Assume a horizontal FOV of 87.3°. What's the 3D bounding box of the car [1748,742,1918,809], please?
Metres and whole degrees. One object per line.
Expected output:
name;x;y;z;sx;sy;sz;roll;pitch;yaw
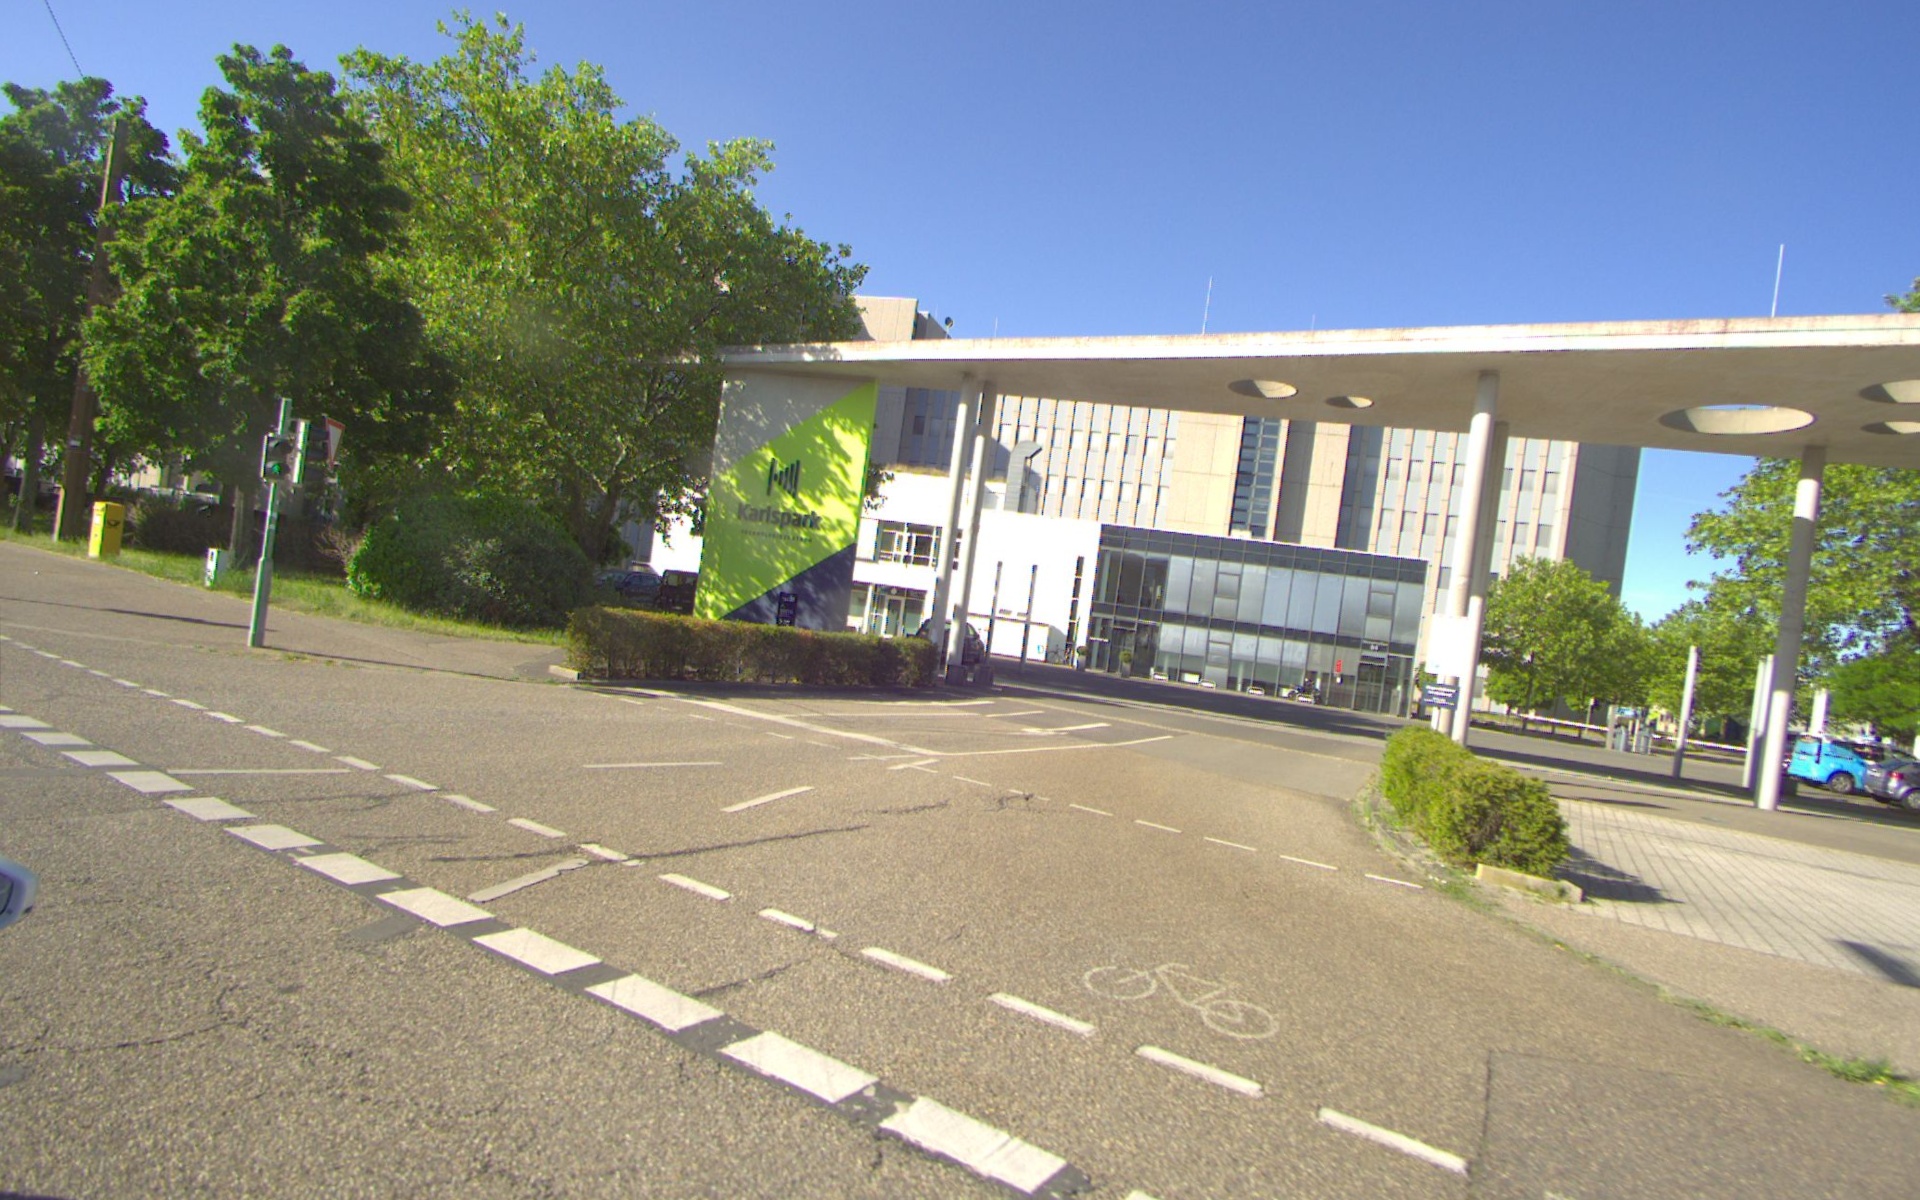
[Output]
car;30.075;6.020;34.805;3.924;1.461;1.780;7;-1;15

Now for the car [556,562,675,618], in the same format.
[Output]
car;-14.001;-0.362;41.122;1.861;1.706;4.469;7;-2;26

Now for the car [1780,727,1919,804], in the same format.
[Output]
car;29.458;5.377;32.071;4.635;1.818;1.780;7;0;15

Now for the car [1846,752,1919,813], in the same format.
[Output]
car;28.870;5.574;29.424;3.924;1.461;1.780;7;-1;15

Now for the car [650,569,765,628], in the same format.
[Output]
car;-9.881;0.009;39.785;2.052;1.777;4.902;7;-2;16

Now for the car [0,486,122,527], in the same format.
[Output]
car;-47.811;-4.920;53.390;4.627;1.343;2.080;8;-1;-25

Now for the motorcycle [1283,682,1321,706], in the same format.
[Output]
motorcycle;17.396;4.795;51.237;1.701;0.959;0.653;7;-1;17

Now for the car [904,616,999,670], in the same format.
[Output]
car;-0.246;1.617;36.762;1.918;1.596;4.001;7;-2;22
